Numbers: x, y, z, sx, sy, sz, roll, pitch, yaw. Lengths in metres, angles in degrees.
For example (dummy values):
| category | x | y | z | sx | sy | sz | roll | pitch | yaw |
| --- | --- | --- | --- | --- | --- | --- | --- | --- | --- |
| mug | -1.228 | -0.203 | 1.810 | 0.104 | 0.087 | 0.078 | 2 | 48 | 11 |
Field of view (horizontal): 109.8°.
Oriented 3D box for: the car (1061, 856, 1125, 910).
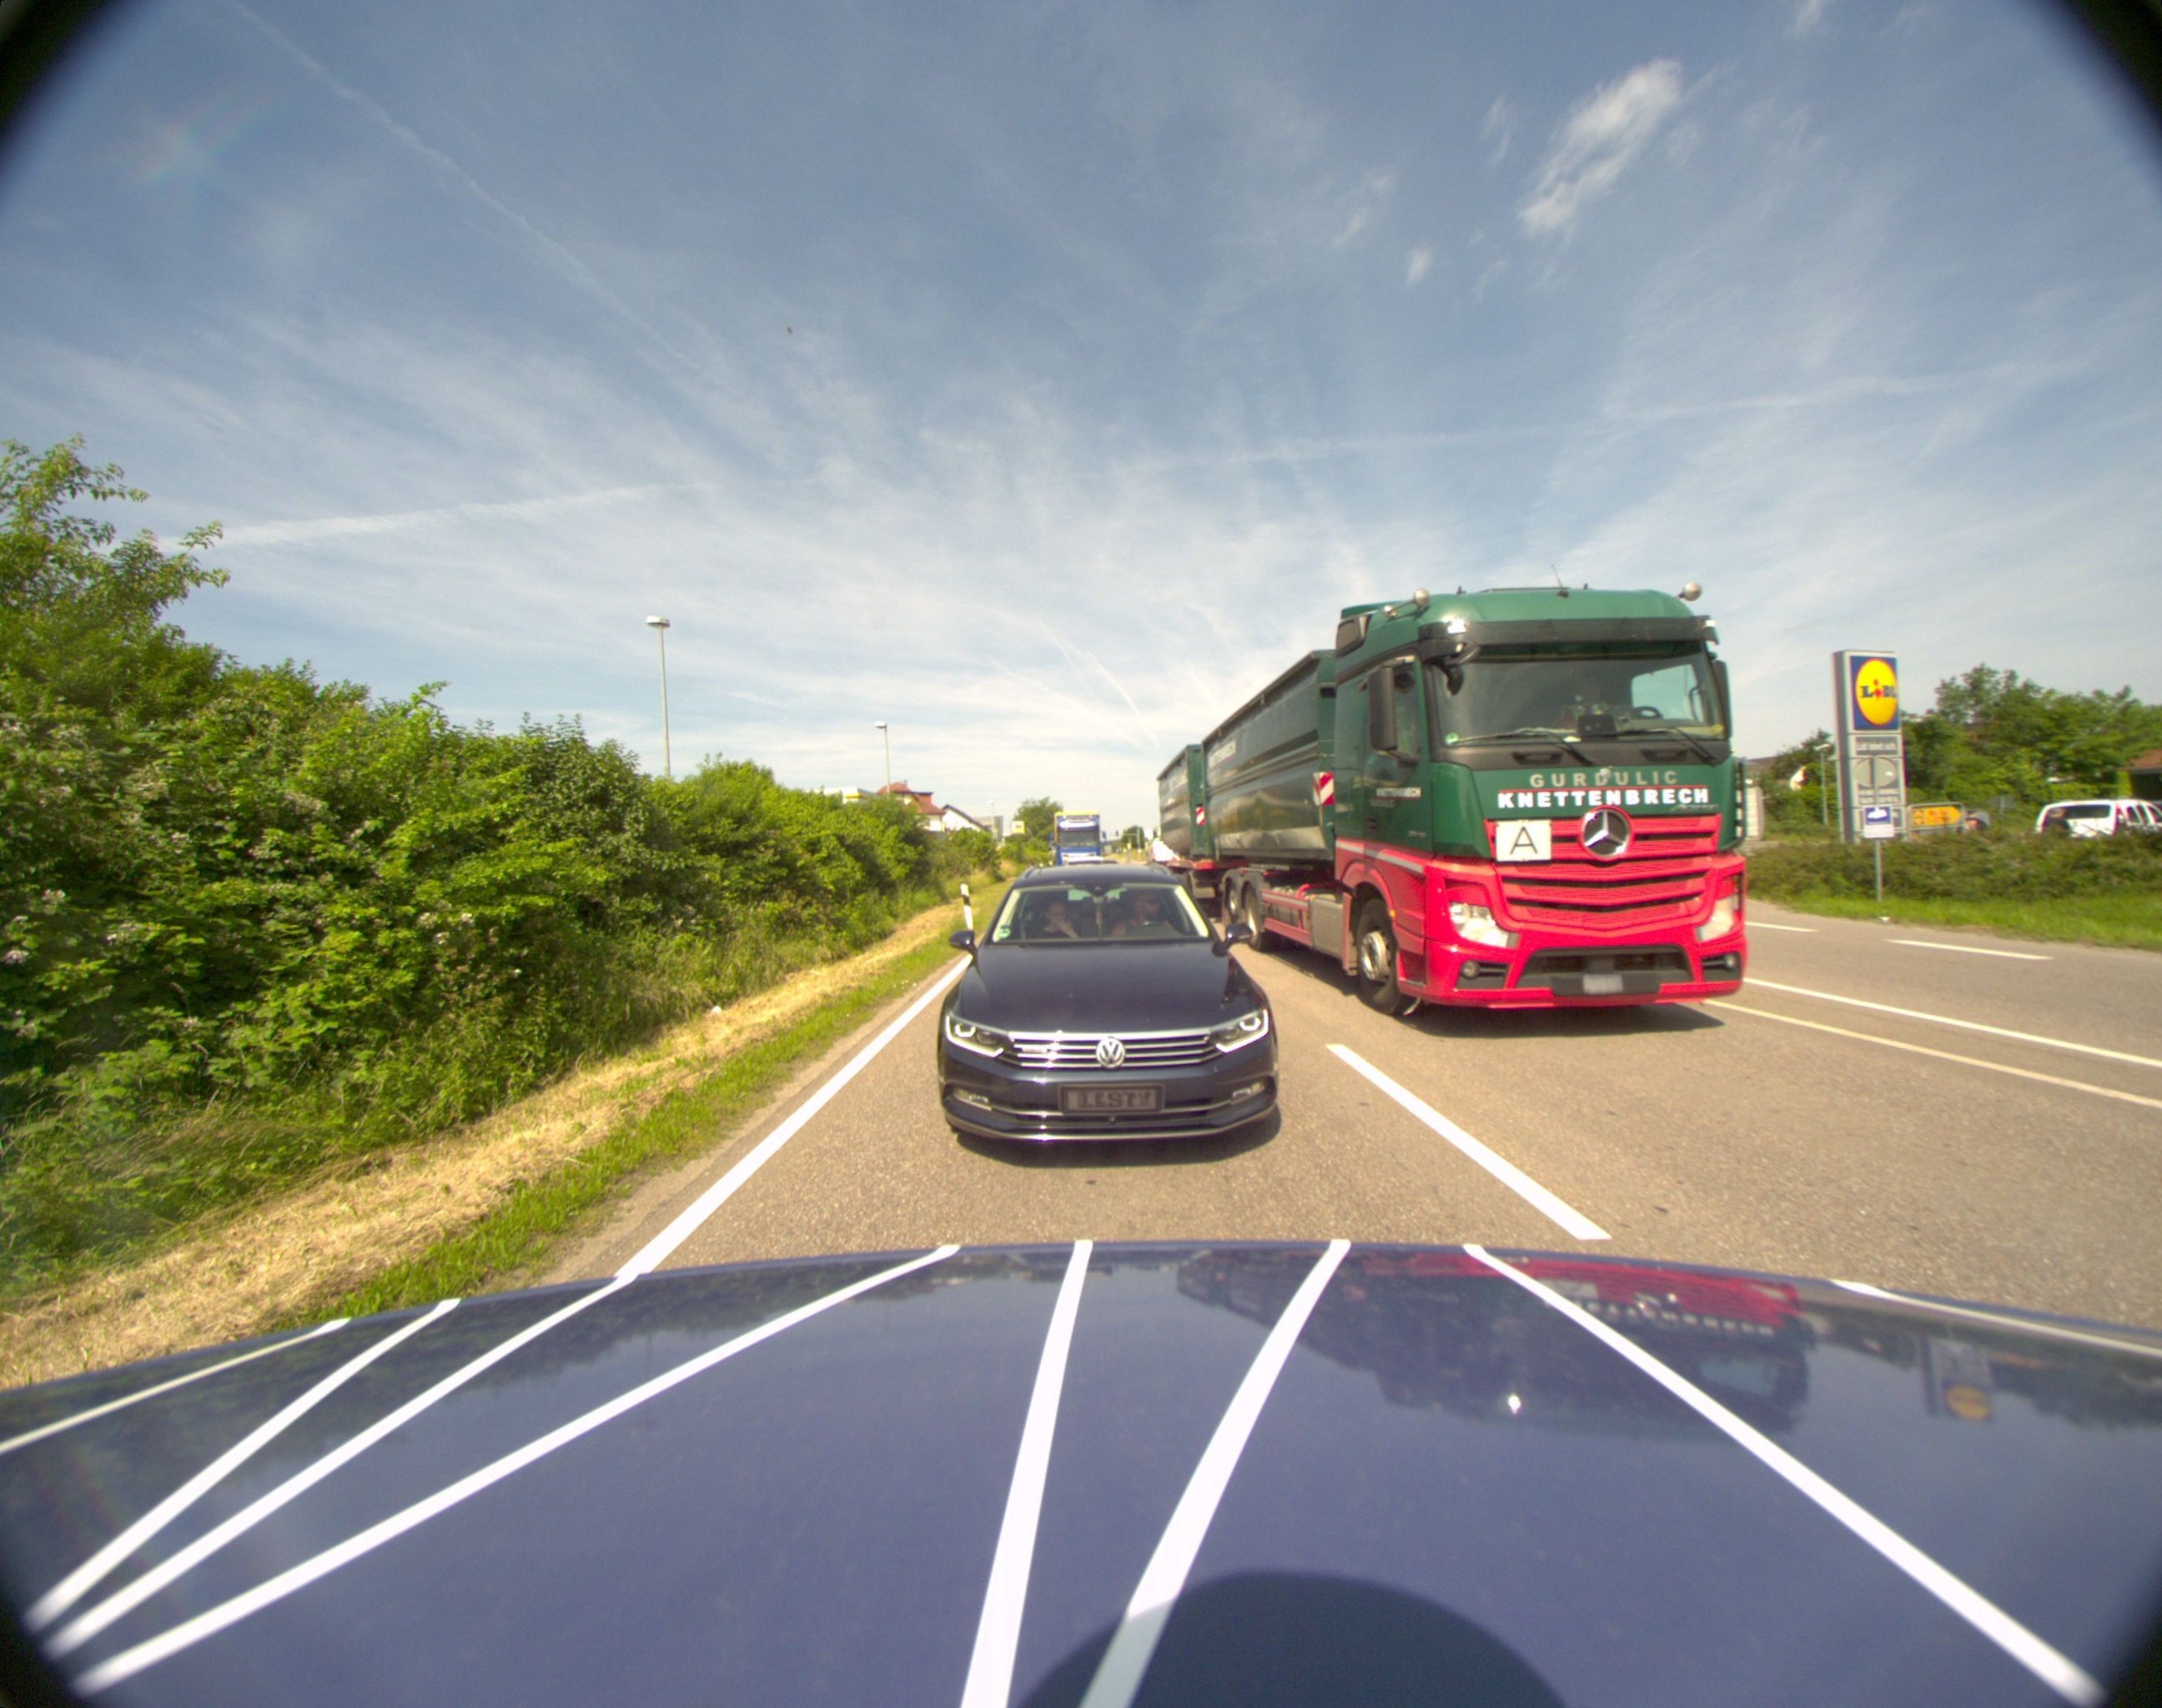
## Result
| category | x | y | z | sx | sy | sz | roll | pitch | yaw |
| --- | --- | --- | --- | --- | --- | --- | --- | --- | --- |
| car | 0.379 | 0.833 | 23.853 | 1.814 | 1.466 | 3.973 | -2 | 0 | 1 |

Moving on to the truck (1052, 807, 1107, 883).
| category | x | y | z | sx | sy | sz | roll | pitch | yaw |
| --- | --- | --- | --- | --- | --- | --- | --- | --- | --- |
| truck | 0.025 | -0.512 | 47.315 | 2.855 | 3.999 | 12.916 | -2 | 0 | 1 |

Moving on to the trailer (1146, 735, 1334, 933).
| category | x | y | z | sx | sy | sz | roll | pitch | yaw |
| --- | --- | --- | --- | --- | --- | --- | --- | --- | --- |
| trailer | 3.594 | -0.399 | 19.695 | 2.809 | 3.897 | 8.669 | -2 | 0 | -1 |

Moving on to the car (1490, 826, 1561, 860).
| category | x | y | z | sx | sy | sz | roll | pitch | yaw |
| --- | --- | --- | --- | --- | --- | --- | --- | --- | --- |
| car | 24.238 | -0.570 | 41.624 | 1.736 | 1.718 | 4.001 | -1 | 0 | 3 |

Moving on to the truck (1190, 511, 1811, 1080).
| category | x | y | z | sx | sy | sz | roll | pitch | yaw |
| --- | --- | --- | --- | --- | --- | --- | --- | --- | --- |
| truck | 3.681 | -0.401 | 10.352 | 2.675 | 3.897 | 10.048 | -2 | 0 | -1 |

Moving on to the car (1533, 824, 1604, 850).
| category | x | y | z | sx | sy | sz | roll | pitch | yaw |
| --- | --- | --- | --- | --- | --- | --- | --- | --- | --- |
| car | 32.188 | -1.089 | 50.322 | 1.753 | 1.603 | 3.873 | -2 | 0 | -10 |

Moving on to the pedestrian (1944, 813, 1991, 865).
| category | x | y | z | sx | sy | sz | roll | pitch | yaw |
| --- | --- | --- | --- | --- | --- | --- | --- | --- | --- |
| pedestrian | 27.481 | -0.456 | 23.569 | 0.702 | 1.566 | 0.811 | -1 | 0 | 30 |

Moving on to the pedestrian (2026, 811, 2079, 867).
| category | x | y | z | sx | sy | sz | roll | pitch | yaw |
| --- | --- | --- | --- | --- | --- | --- | --- | --- | --- |
| pedestrian | 27.931 | -0.437 | 21.844 | 0.705 | 1.566 | 0.807 | -3 | 2 | -27 |

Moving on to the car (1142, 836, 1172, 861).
| category | x | y | z | sx | sy | sz | roll | pitch | yaw |
| --- | --- | --- | --- | --- | --- | --- | --- | --- | --- |
| car | 8.458 | -0.582 | 84.686 | 2.124 | 2.639 | 5.983 | -3 | 0 | -5 |

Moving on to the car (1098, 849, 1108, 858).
| category | x | y | z | sx | sy | sz | roll | pitch | yaw |
| --- | --- | --- | --- | --- | --- | --- | --- | --- | --- |
| car | 4.051 | -0.054 | 139.405 | 1.819 | 1.626 | 3.893 | -2 | 0 | 1 |

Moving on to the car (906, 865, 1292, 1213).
| category | x | y | z | sx | sy | sz | roll | pitch | yaw |
| --- | --- | --- | --- | --- | --- | --- | --- | --- | --- |
| car | 0.122 | 0.907 | 6.023 | 1.756 | 1.493 | 4.925 | -2 | 0 | 1 |

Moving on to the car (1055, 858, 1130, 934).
| category | x | y | z | sx | sy | sz | roll | pitch | yaw |
| --- | --- | --- | --- | --- | --- | --- | --- | --- | --- |
| car | 0.268 | 0.864 | 17.394 | 1.471 | 1.451 | 3.797 | -2 | 0 | 1 |

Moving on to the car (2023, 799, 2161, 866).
| category | x | y | z | sx | sy | sz | roll | pitch | yaw |
| --- | --- | --- | --- | --- | --- | --- | --- | --- | --- |
| car | 30.684 | -0.663 | 22.813 | 4.172 | 1.801 | 1.877 | -3 | 1 | -23 |
